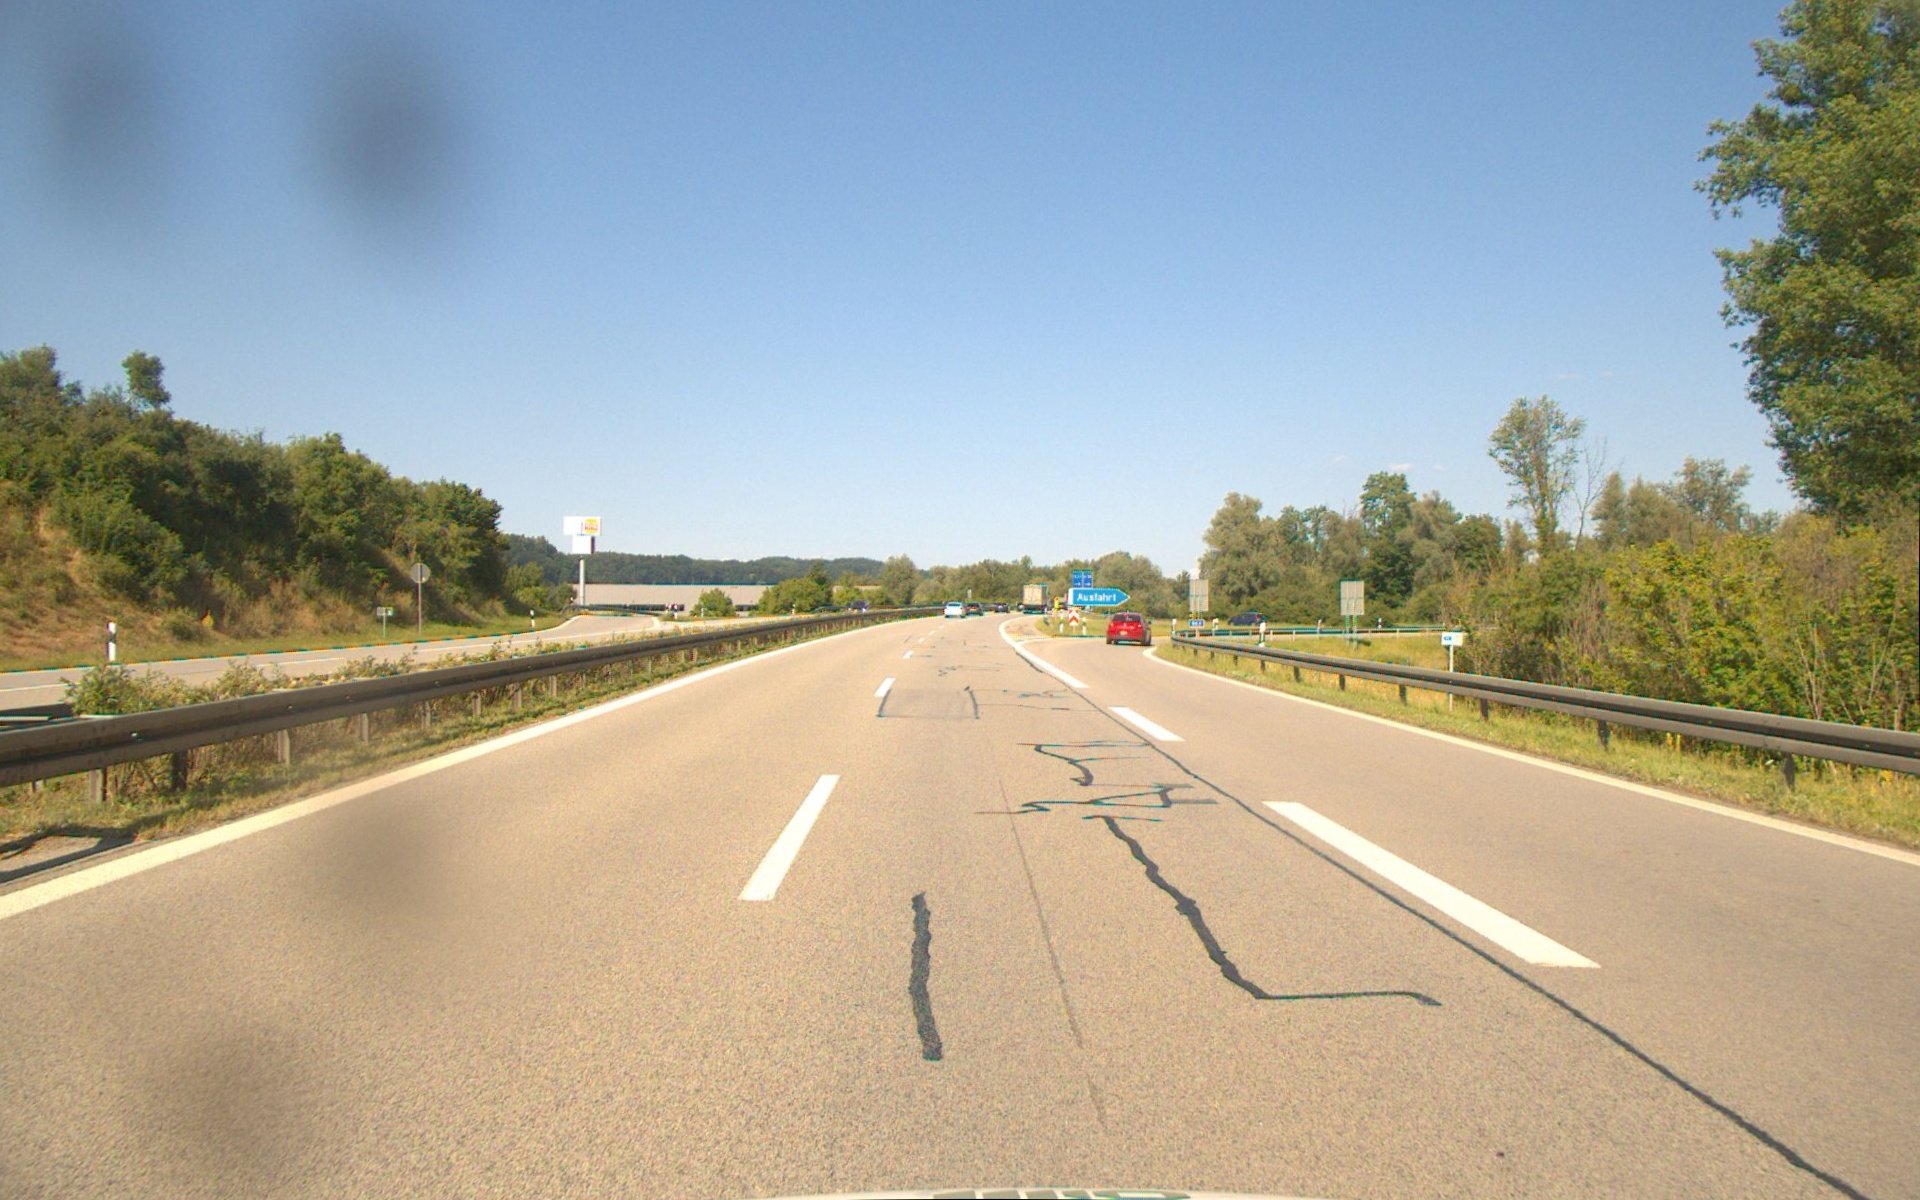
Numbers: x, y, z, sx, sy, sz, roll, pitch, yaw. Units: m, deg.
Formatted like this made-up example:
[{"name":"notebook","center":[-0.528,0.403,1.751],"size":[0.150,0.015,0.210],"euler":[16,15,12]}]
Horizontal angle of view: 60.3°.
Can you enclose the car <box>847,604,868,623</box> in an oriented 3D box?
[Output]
[{"name":"car","center":[-9.853,1.274,159.503],"size":[1.841,1.653,3.998],"euler":[-1,-3,-1]}]

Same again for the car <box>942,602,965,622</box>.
[{"name":"car","center":[-0.627,1.161,153.399],"size":[2.020,1.653,3.998],"euler":[-1,-3,-1]}]

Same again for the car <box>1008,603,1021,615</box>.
[{"name":"car","center":[8.184,1.282,248.742],"size":[1.952,1.780,4.001],"euler":[0,0,1]}]

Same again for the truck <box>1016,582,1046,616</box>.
[{"name":"truck","center":[9.656,-0.123,226.282],"size":[3.758,4.474,11.473],"euler":[-1,0,2]}]

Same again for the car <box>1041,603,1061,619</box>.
[{"name":"car","center":[10.385,1.268,188.506],"size":[1.953,1.780,3.999],"euler":[0,0,-1]}]

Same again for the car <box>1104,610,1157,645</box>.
[{"name":"car","center":[7.693,1.247,74.350],"size":[1.746,1.456,4.003],"euler":[2,-1,14]}]

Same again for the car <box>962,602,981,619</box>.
[{"name":"car","center":[1.211,1.132,177.019],"size":[1.953,1.780,3.999],"euler":[0,0,-1]}]

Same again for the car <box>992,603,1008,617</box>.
[{"name":"car","center":[5.289,1.334,219.164],"size":[1.953,1.780,3.999],"euler":[0,0,-1]}]
